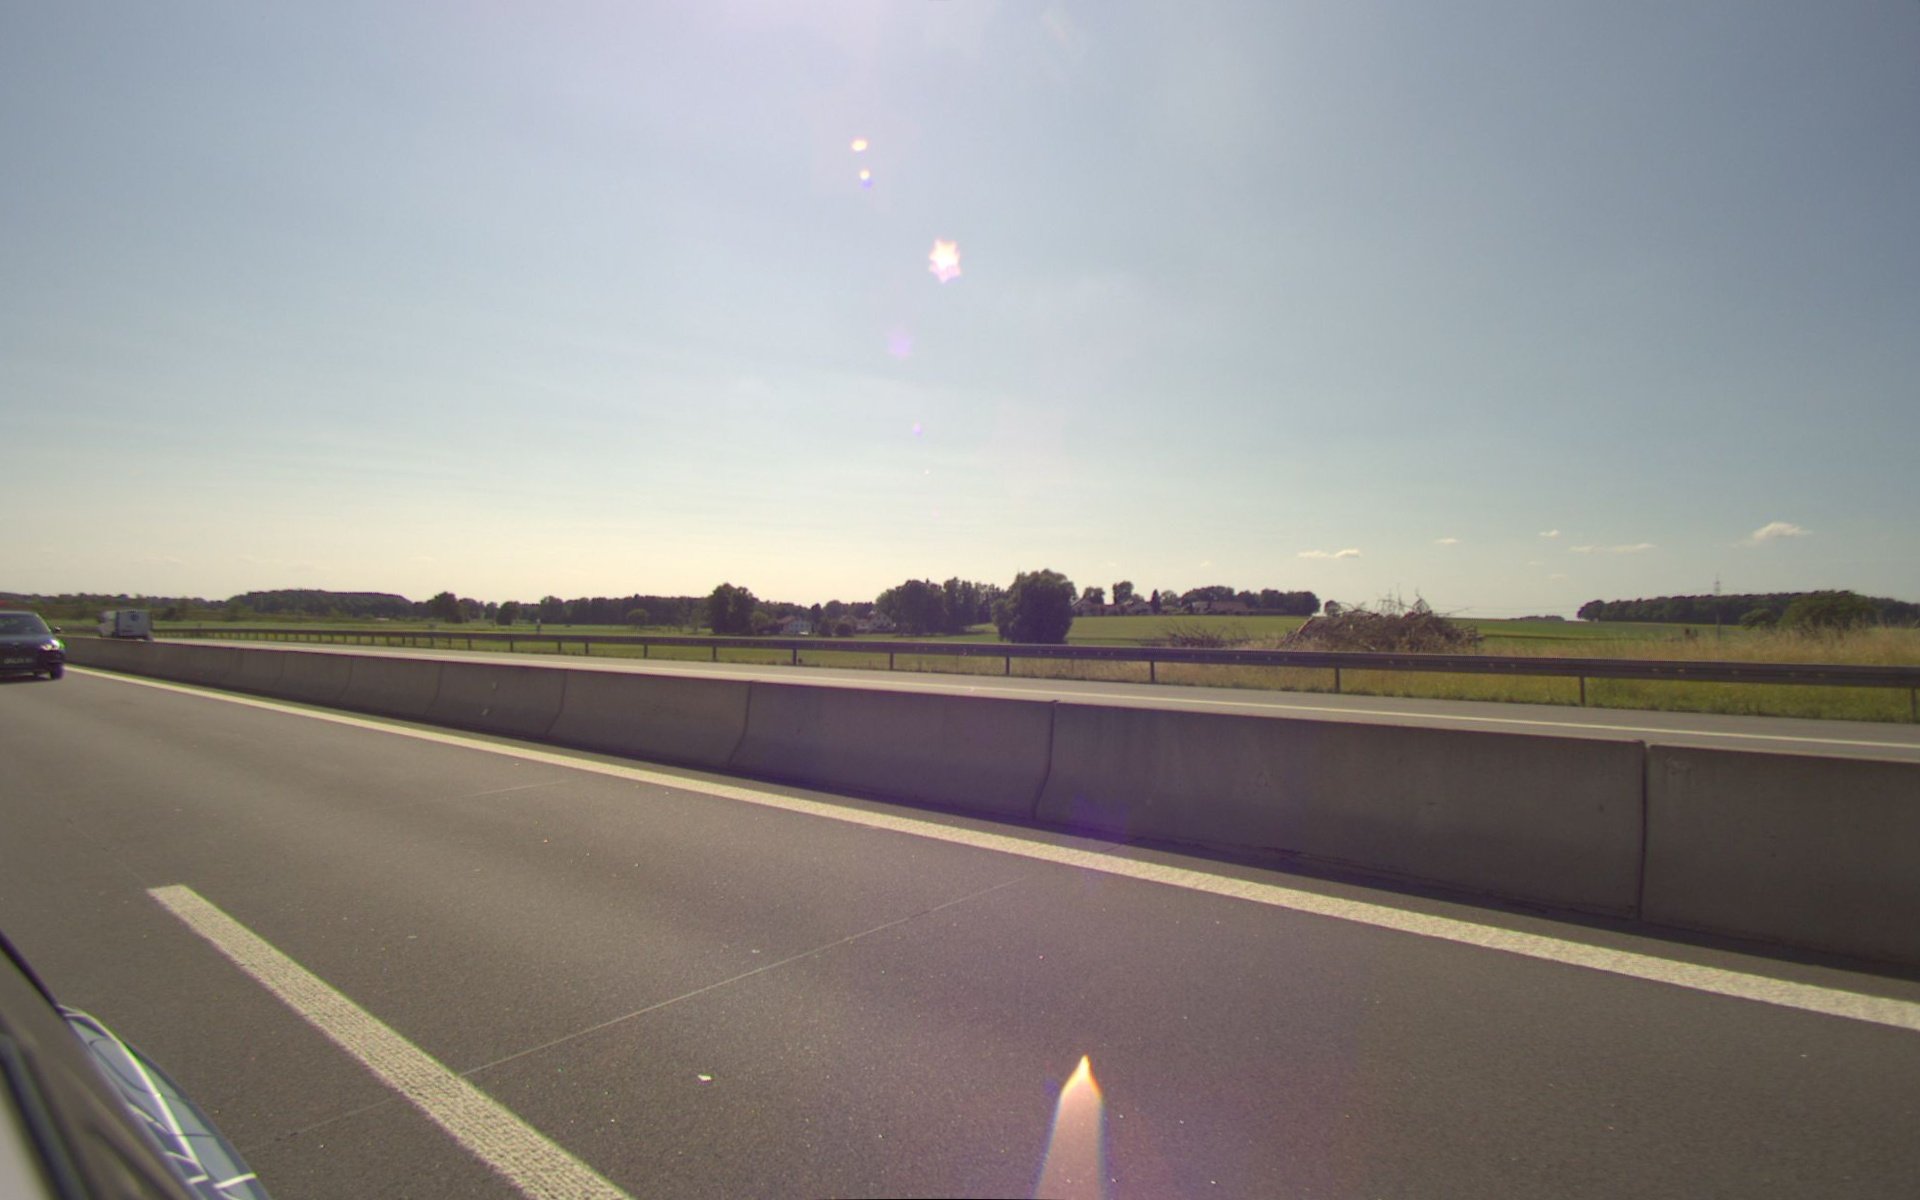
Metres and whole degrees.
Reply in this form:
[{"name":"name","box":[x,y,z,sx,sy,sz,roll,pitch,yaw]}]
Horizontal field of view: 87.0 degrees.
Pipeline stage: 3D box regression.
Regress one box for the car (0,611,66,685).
[{"name":"car","box":[-22.979,1.093,24.038,4.816,1.622,2.004,-1,0,41]}]

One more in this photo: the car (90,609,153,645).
[{"name":"car","box":[-51.858,1.624,62.550,5.711,2.029,1.974,0,1,40]}]
